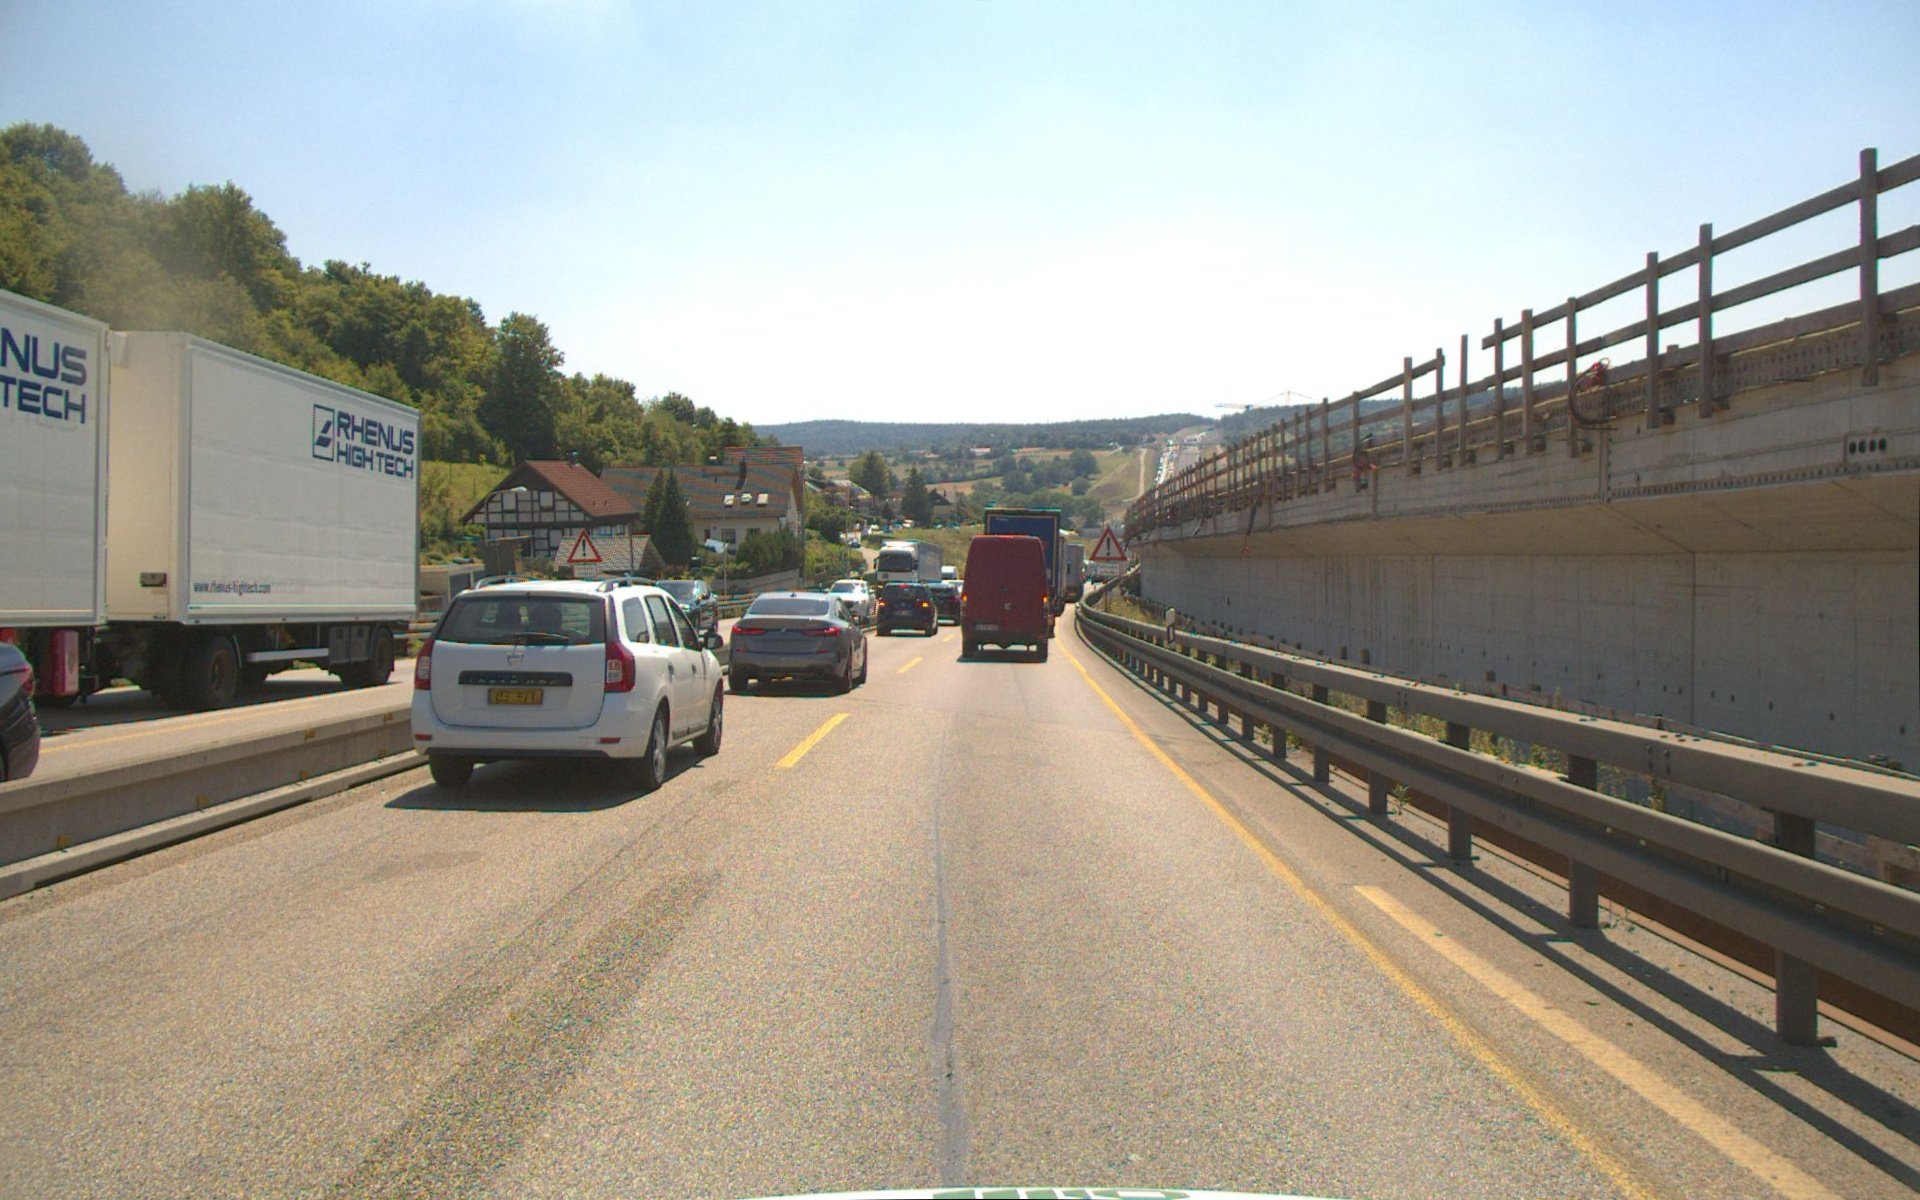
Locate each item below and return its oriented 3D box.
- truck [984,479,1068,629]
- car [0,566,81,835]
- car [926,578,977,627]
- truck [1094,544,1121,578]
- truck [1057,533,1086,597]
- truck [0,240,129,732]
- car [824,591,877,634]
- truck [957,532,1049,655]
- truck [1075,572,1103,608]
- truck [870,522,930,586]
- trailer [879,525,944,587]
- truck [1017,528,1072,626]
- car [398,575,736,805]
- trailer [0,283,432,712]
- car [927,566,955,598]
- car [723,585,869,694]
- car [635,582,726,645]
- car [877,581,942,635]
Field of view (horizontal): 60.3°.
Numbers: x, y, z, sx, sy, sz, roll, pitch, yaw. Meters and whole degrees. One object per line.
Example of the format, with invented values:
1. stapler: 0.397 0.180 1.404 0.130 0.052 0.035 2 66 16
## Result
1. truck: 2.390 -1.457 59.178 2.728 4.900 9.687 0 -1 2
2. car: -6.258 0.569 7.772 1.745 1.504 4.621 0 0 0
3. car: -0.301 0.107 65.584 1.693 1.870 4.002 0 -1 4
4. truck: 20.711 -5.390 232.969 3.395 4.458 8.559 0 -1 2
5. truck: 8.032 -2.485 119.300 1.952 4.458 4.001 0 -1 2
6. truck: -9.732 -0.957 11.114 2.917 4.235 10.545 1 1 0
7. car: -4.481 0.523 68.173 1.713 1.716 4.388 0 -1 3
8. truck: 1.019 -0.124 37.465 1.952 2.624 4.001 0 -1 3
9. truck: 16.542 -1.260 211.753 3.004 4.458 8.563 0 -1 7
10. truck: -3.982 -3.016 111.360 3.069 4.151 6.884 0 1 6
11. trailer: -3.334 -3.024 117.779 3.069 4.150 11.827 0 1 6
12. truck: 4.443 -1.082 87.726 2.728 4.900 9.687 0 -1 2
13. car: -2.955 0.622 13.346 1.617 1.509 4.266 -2 0 1
14. trailer: -9.671 -1.045 20.869 2.941 4.238 9.018 0 0 1
15. car: -1.572 -1.551 141.078 1.963 2.649 5.982 0 1 3
16. car: -2.379 0.546 24.926 1.758 1.511 4.050 0 0 0
17. car: -8.272 0.416 49.269 1.866 1.773 4.662 0 -1 0
18. car: -1.562 0.273 52.583 1.772 1.636 3.720 0 -1 3
